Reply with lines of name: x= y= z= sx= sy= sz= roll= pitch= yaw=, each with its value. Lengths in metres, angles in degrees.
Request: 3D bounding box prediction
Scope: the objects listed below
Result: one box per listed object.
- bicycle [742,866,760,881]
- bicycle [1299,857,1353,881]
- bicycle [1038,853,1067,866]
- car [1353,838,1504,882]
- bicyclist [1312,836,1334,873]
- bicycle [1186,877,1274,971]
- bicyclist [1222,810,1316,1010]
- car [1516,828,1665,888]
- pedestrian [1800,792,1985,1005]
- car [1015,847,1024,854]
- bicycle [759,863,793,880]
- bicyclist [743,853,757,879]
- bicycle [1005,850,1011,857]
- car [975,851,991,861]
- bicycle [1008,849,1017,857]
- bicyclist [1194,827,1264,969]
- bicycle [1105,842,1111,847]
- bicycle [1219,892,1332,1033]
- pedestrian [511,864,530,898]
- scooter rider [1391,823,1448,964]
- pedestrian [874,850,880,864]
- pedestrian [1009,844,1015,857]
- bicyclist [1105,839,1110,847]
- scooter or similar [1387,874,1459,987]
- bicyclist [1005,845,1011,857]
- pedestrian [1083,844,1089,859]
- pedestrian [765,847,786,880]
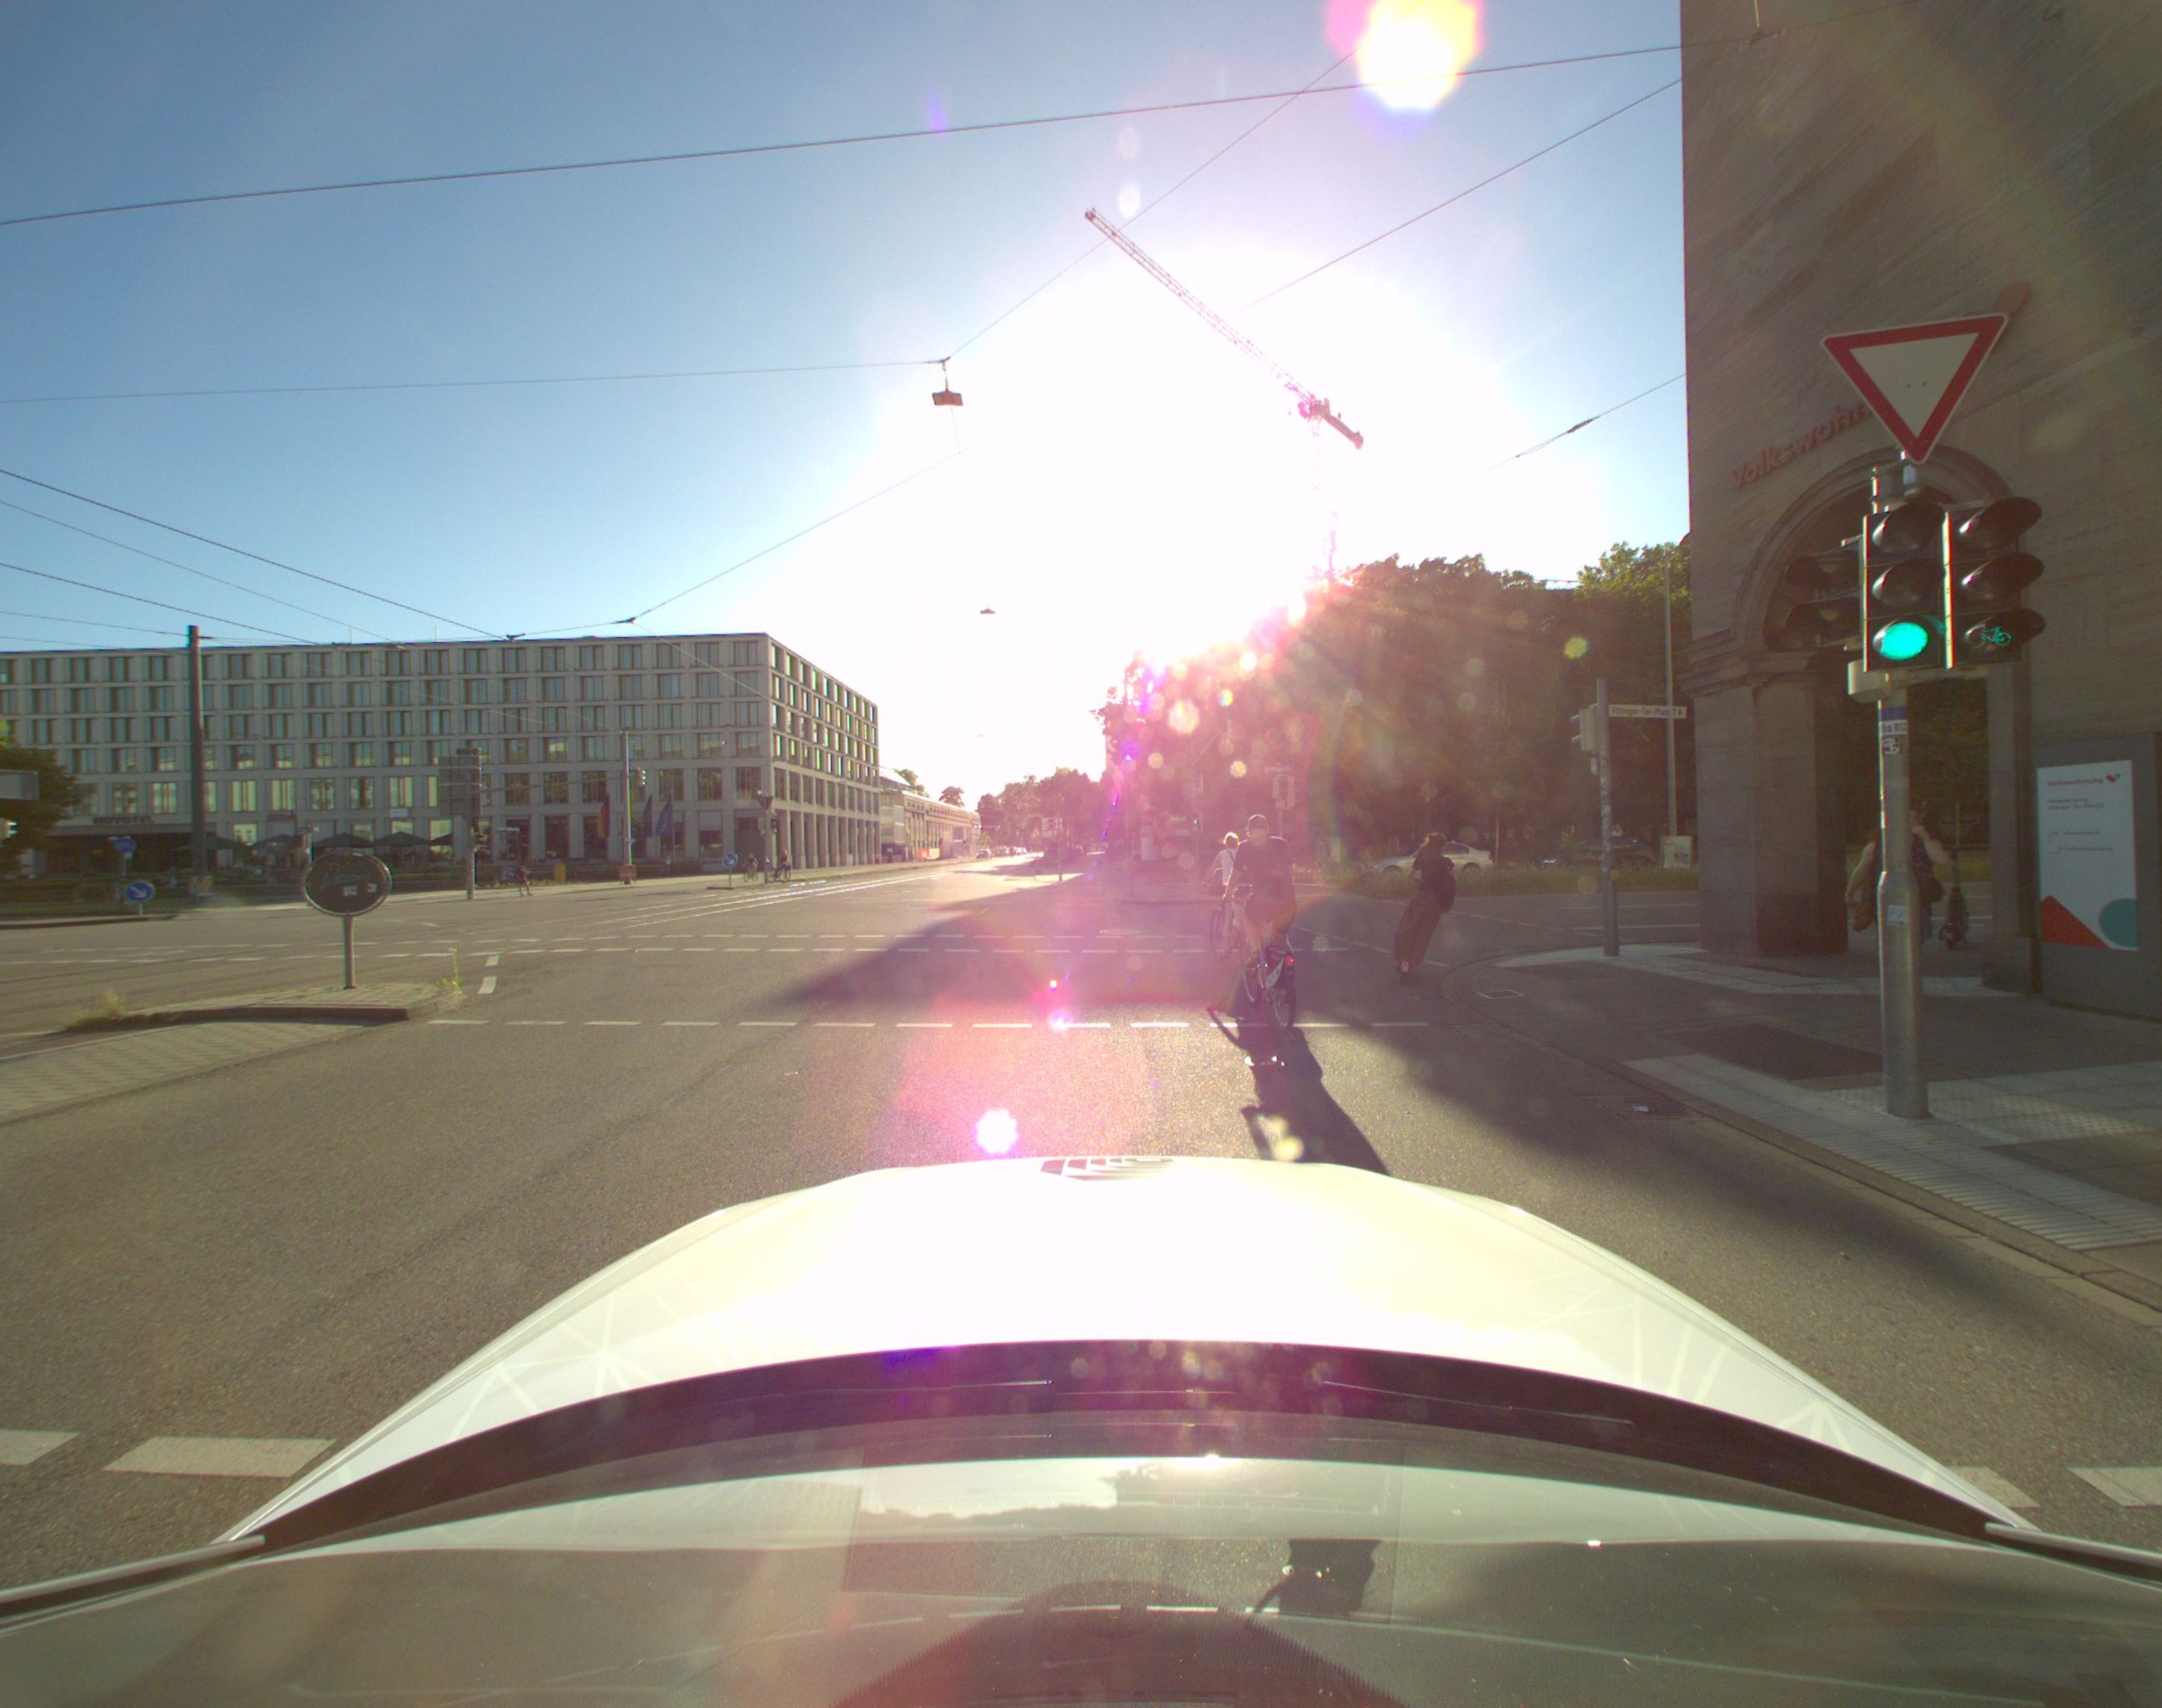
bicycle: x=-19.533 y=1.171 z=48.233 sx=0.492 sy=0.839 sz=1.158 roll=-2 pitch=0 yaw=4
bicycle: x=9.601 y=0.586 z=31.992 sx=1.932 sy=0.889 sz=0.719 roll=-1 pitch=0 yaw=8
bicycle: x=-2.198 y=0.393 z=63.142 sx=2.240 sy=0.940 sz=0.653 roll=-2 pitch=0 yaw=-3
car: x=12.323 y=0.210 z=29.120 sx=4.559 sy=1.516 sz=2.001 roll=0 pitch=0 yaw=1
bicyclist: x=9.509 y=0.023 z=32.001 sx=0.742 sy=1.406 sz=0.704 roll=0 pitch=0 yaw=8
bicycle: x=1.897 y=0.864 z=10.608 sx=0.582 sy=1.044 sz=1.742 roll=-2 pitch=0 yaw=-8
bicyclist: x=1.710 y=0.486 z=7.513 sx=0.621 sy=1.715 sz=0.913 roll=-2 pitch=0 yaw=0
car: x=17.770 y=0.141 z=28.557 sx=3.970 sy=2.013 sz=2.002 roll=0 pitch=0 yaw=3
pedestrian: x=6.626 y=0.341 z=6.696 sx=0.594 sy=1.607 sz=0.813 roll=-5 pitch=0 yaw=1
car: x=-14.395 y=-0.866 z=191.051 sx=1.988 sy=1.644 sz=3.998 roll=-2 pitch=0 yaw=-1
bicycle: x=-15.106 y=0.864 z=40.369 sx=1.696 sy=0.823 sz=0.577 roll=-1 pitch=0 yaw=29
bicyclist: x=-19.562 y=0.721 z=48.118 sx=0.492 sy=1.498 sz=0.667 roll=-2 pitch=0 yaw=4
bicycle: x=-11.882 y=-0.096 z=132.728 sx=0.748 sy=1.205 sz=3.108 roll=0 pitch=0 yaw=1
car: x=-15.854 y=0.335 z=132.089 sx=1.988 sy=1.599 sz=3.999 roll=-2 pitch=1 yaw=-1
bicycle: x=-10.695 y=-0.118 z=126.568 sx=0.746 sy=1.205 sz=3.114 roll=0 pitch=0 yaw=7
bicyclist: x=1.899 y=0.537 z=10.555 sx=0.583 sy=1.738 sz=0.947 roll=-2 pitch=0 yaw=-8
bicycle: x=6.402 y=-2.242 z=196.145 sx=0.890 sy=1.219 sz=2.784 roll=0 pitch=0 yaw=-9
bicycle: x=1.731 y=0.927 z=7.515 sx=0.621 sy=1.044 sz=1.747 roll=-2 pitch=0 yaw=1
pedestrian: x=-28.353 y=1.345 z=41.168 sx=0.598 sy=1.681 sz=0.610 roll=-2 pitch=0 yaw=40
scooter rider: x=3.898 y=0.442 z=9.398 sx=0.540 sy=1.562 sz=0.579 roll=-1 pitch=0 yaw=18
pedestrian: x=-27.858 y=0.387 z=111.081 sx=0.582 sy=1.889 sz=0.481 roll=-1 pitch=0 yaw=24
pedestrian: x=-10.684 y=-0.526 z=126.634 sx=0.746 sy=2.063 sz=1.052 roll=0 pitch=0 yaw=7
bicyclist: x=6.390 y=-2.638 z=196.125 sx=0.891 sy=2.014 sz=0.746 roll=0 pitch=0 yaw=-10
scooter or similar: x=3.855 y=0.831 z=9.251 sx=0.568 sy=1.149 sz=1.278 roll=-3 pitch=0 yaw=17
bicyclist: x=-11.888 y=-0.483 z=132.658 sx=0.748 sy=1.920 sz=1.215 roll=0 pitch=0 yaw=1
pedestrian: x=0.560 y=-0.268 z=93.540 sx=0.576 sy=1.689 sz=0.584 roll=-2 pitch=0 yaw=-6
pedestrian: x=-15.138 y=0.474 z=40.380 sx=0.735 sy=1.595 sz=0.577 roll=-2 pitch=0 yaw=29
